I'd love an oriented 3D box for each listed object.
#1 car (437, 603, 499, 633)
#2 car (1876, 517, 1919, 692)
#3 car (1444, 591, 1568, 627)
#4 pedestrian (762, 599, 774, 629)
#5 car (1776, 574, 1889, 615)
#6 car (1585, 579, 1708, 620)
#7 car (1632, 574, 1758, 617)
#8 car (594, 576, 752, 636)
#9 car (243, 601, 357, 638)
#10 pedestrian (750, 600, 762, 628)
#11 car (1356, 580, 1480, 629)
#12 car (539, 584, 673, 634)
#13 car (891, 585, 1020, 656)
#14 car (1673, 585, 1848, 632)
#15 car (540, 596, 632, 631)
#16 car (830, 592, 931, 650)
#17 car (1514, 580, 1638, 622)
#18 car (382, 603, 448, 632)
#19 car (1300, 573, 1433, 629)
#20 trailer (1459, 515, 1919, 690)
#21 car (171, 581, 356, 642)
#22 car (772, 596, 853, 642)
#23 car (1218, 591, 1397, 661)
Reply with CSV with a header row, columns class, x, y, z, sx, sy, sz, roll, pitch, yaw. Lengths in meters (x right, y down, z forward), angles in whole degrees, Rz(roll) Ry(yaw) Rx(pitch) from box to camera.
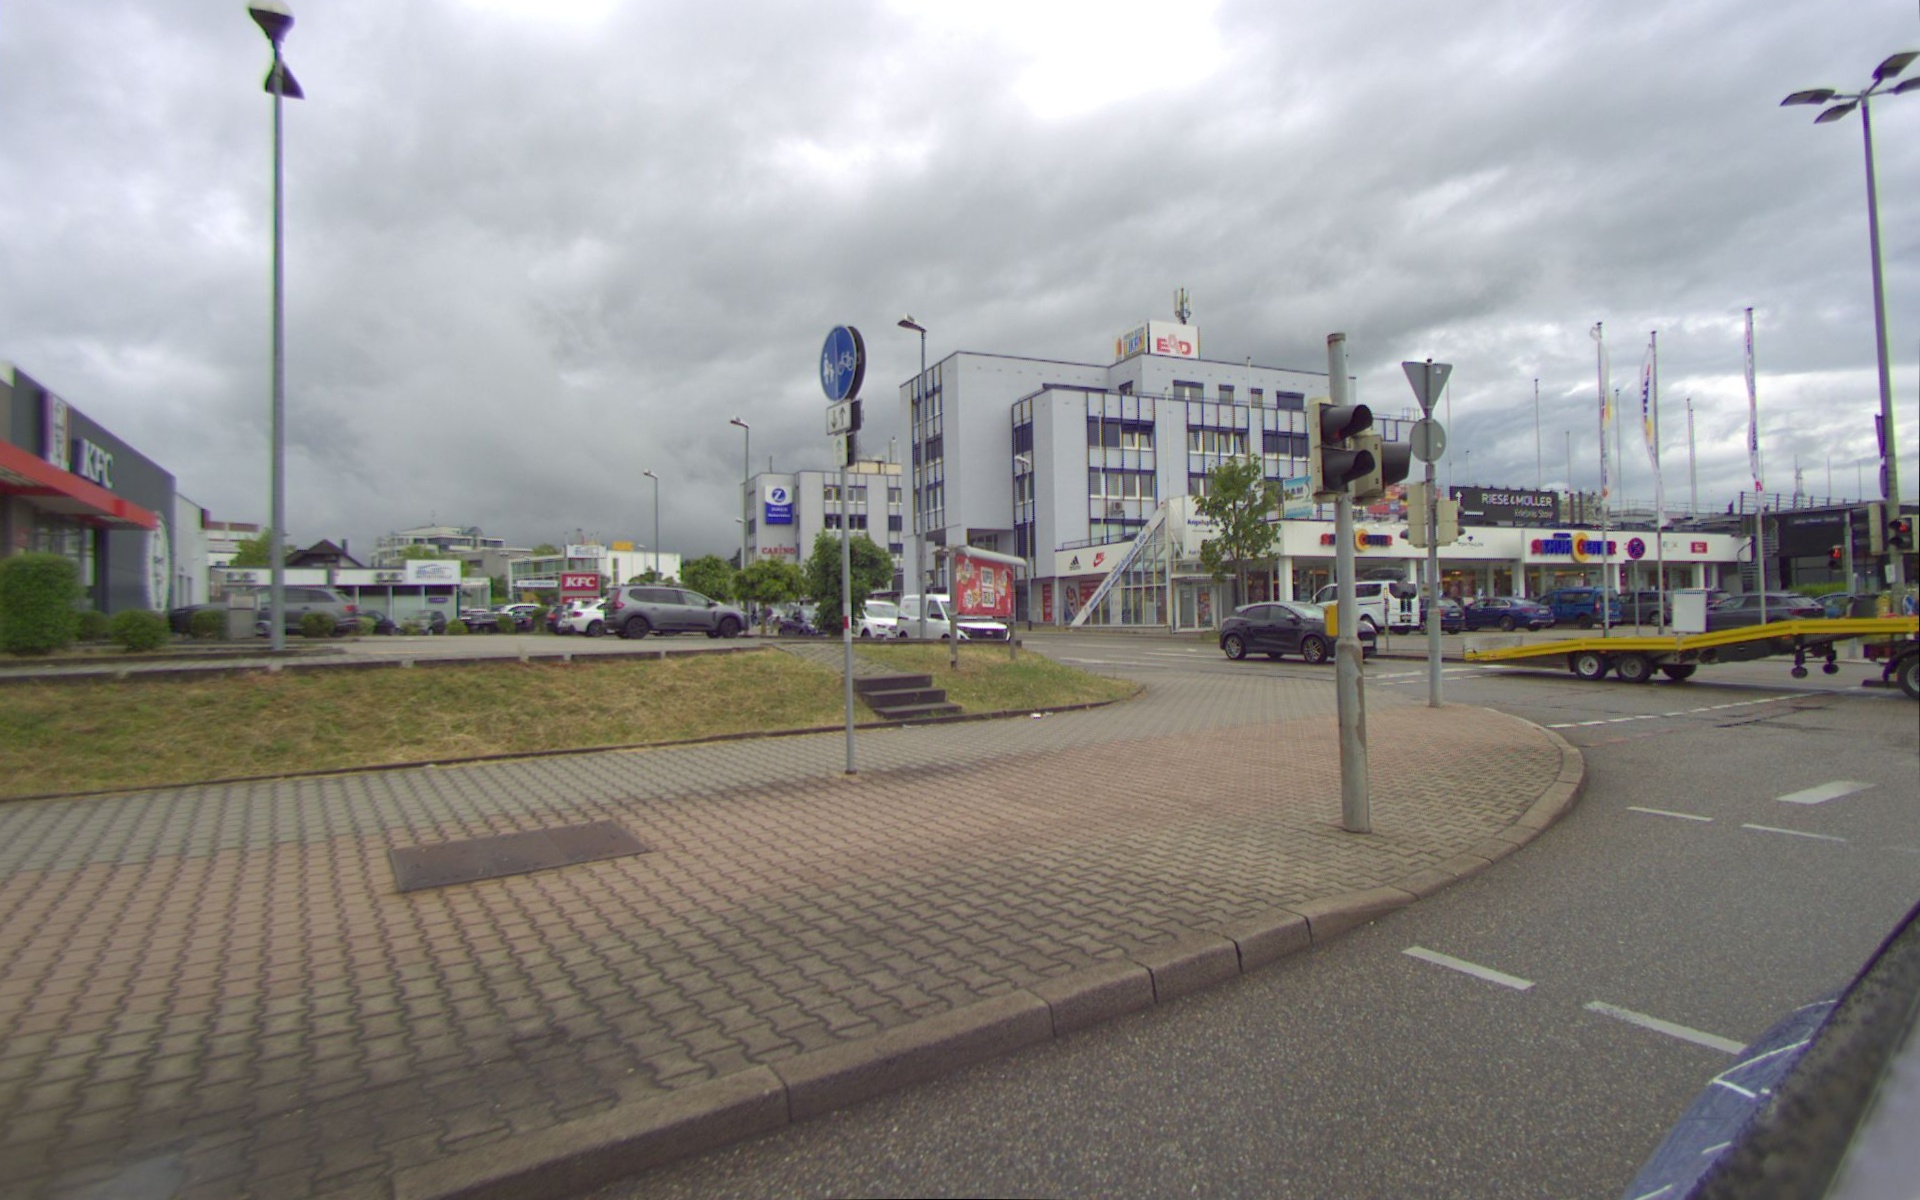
class,x,y,z,sx,sy,sz,roll,pitch,yaw
car,-27.800,0.992,57.261,1.535,1.572,3.361,-1,0,8
car,15.769,0.042,13.353,2.202,2.505,5.017,0,-1,-32
car,22.688,0.350,42.232,1.786,1.411,4.382,0,0,-25
pedestrian,-11.154,0.832,58.745,0.540,1.729,0.519,-1,0,-33
car,44.948,-0.283,52.241,1.871,2.039,4.007,0,0,-22
car,31.686,-0.010,46.847,1.858,1.786,4.382,0,0,-25
car,34.388,-0.188,47.484,1.858,1.930,4.382,0,0,-25
car,-8.913,0.156,31.499,4.413,1.762,1.894,0,0,-30
car,-27.839,0.782,42.701,3.960,1.505,1.740,0,0,-36
pedestrian,-13.304,0.916,65.970,0.634,1.765,0.588,-1,0,5
car,18.270,0.180,40.625,1.858,1.843,4.382,0,0,-25
car,-13.186,0.342,37.812,4.415,1.763,1.893,0,-1,-33
car,-0.207,0.550,27.978,1.762,1.806,4.254,2,-1,-28
car,26.010,0.262,33.049,1.785,1.411,4.134,0,0,-21
car,-17.123,0.600,46.353,3.671,1.533,1.736,-1,0,-32
car,-2.632,0.645,32.542,1.787,1.730,4.005,0,0,-28
car,27.242,0.040,44.910,1.858,1.786,4.382,0,0,-25
car,-30.091,0.973,55.991,1.535,1.572,3.361,-1,-2,8
car,15.558,0.047,39.034,1.958,2.039,4.795,0,0,-23
trailer,13.129,0.065,17.624,2.265,2.505,7.976,0,-1,-31
car,-21.699,0.328,31.744,4.651,1.762,1.893,0,0,-33
car,-5.573,0.674,37.929,1.787,1.619,4.005,0,0,-28
car,8.631,0.612,25.460,1.779,1.560,4.002,-2,0,-32
